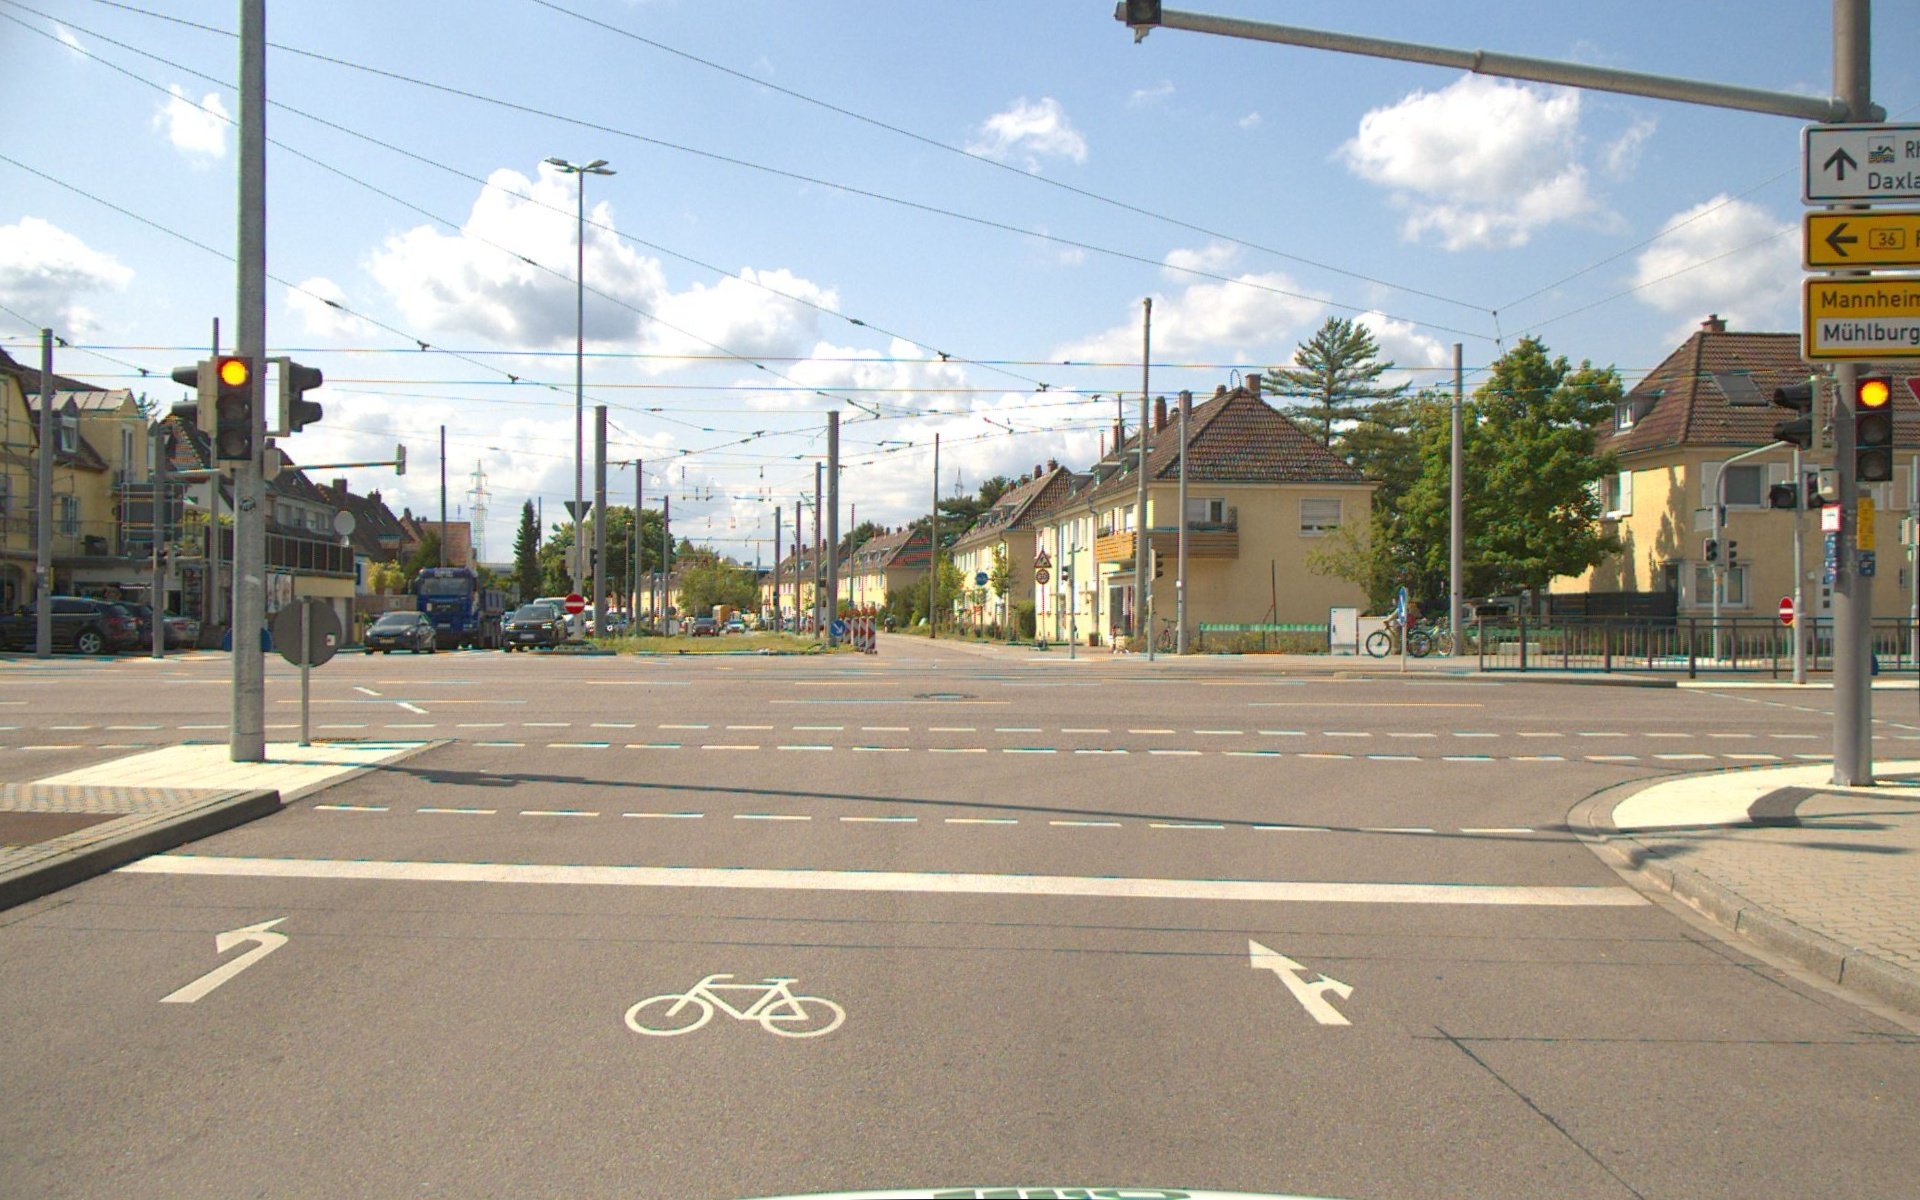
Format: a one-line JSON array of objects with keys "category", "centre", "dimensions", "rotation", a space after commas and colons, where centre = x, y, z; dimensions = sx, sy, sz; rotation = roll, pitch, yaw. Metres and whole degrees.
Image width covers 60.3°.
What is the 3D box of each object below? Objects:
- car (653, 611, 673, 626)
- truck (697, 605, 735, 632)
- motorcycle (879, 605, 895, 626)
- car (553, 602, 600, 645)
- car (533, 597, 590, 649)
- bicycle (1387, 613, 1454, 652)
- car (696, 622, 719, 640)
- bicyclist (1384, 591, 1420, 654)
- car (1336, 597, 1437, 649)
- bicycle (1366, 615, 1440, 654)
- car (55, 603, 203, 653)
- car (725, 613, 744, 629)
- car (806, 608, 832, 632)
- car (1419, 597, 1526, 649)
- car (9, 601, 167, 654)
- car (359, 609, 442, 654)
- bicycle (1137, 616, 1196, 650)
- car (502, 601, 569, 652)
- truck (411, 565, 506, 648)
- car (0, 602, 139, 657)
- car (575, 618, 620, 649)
[{"category": "car", "centre": [-42.089, 2.619, 234.341], "dimensions": [1.966, 1.944, 3.973], "rotation": [0, 0, -22]}, {"category": "truck", "centre": [-32.025, 2.451, 217.005], "dimensions": [2.606, 3.555, 9.366], "rotation": [0, -1, -24]}, {"category": "motorcycle", "centre": [-5.805, 1.225, 131.892], "dimensions": [1.046, 1.664, 2.079], "rotation": [0, -1, -9]}, {"category": "car", "centre": [-17.016, 1.043, 73.570], "dimensions": [1.700, 1.813, 4.396], "rotation": [0, -1, -9]}, {"category": "car", "centre": [-15.788, 0.905, 65.720], "dimensions": [1.780, 1.955, 4.738], "rotation": [0, -1, -9]}, {"category": "bicycle", "centre": [13.584, 0.946, 48.813], "dimensions": [1.773, 1.124, 0.699], "rotation": [0, -1, 39]}, {"category": "car", "centre": [-21.270, 2.581, 139.485], "dimensions": [1.808, 1.520, 4.848], "rotation": [0, -1, -7]}, {"category": "bicyclist", "centre": [12.792, 0.664, 47.839], "dimensions": [0.937, 1.806, 0.719], "rotation": [-1, -1, 21]}, {"category": "car", "centre": [14.298, 0.794, 55.601], "dimensions": [1.789, 1.649, 3.990], "rotation": [0, -2, -10]}, {"category": "bicycle", "centre": [12.729, 0.992, 47.520], "dimensions": [1.985, 1.121, 0.715], "rotation": [0, -1, 21]}, {"category": "car", "centre": [-27.367, 0.912, 54.579], "dimensions": [4.058, 1.519, 1.432], "rotation": [2, -1, -9]}, {"category": "car", "centre": [-22.748, 2.090, 166.983], "dimensions": [1.808, 1.589, 4.180], "rotation": [0, -1, -7]}, {"category": "car", "centre": [-13.449, 1.883, 157.041], "dimensions": [2.028, 2.187, 4.866], "rotation": [0, -1, -10]}, {"category": "car", "centre": [17.060, 0.794, 55.279], "dimensions": [1.789, 1.649, 3.990], "rotation": [0, -2, -10]}, {"category": "car", "centre": [-27.295, 0.865, 51.869], "dimensions": [4.058, 1.519, 1.504], "rotation": [2, -1, -9]}, {"category": "car", "centre": [-19.490, 1.095, 57.766], "dimensions": [1.792, 1.513, 4.328], "rotation": [0, -1, -6]}, {"category": "bicycle", "centre": [6.950, 1.100, 55.748], "dimensions": [0.588, 1.116, 2.248], "rotation": [1, -1, -36]}, {"category": "car", "centre": [-15.169, 0.906, 59.313], "dimensions": [1.752, 1.751, 4.434], "rotation": [0, 0, -7]}, {"category": "truck", "centre": [-20.922, 0.311, 69.352], "dimensions": [2.717, 3.244, 7.567], "rotation": [0, -1, -9]}, {"category": "car", "centre": [-26.814, 0.865, 49.200], "dimensions": [4.058, 1.519, 1.177], "rotation": [2, -1, -9]}, {"category": "car", "centre": [-17.622, 1.616, 80.500], "dimensions": [1.879, 1.444, 3.992], "rotation": [0, -1, -9]}]
